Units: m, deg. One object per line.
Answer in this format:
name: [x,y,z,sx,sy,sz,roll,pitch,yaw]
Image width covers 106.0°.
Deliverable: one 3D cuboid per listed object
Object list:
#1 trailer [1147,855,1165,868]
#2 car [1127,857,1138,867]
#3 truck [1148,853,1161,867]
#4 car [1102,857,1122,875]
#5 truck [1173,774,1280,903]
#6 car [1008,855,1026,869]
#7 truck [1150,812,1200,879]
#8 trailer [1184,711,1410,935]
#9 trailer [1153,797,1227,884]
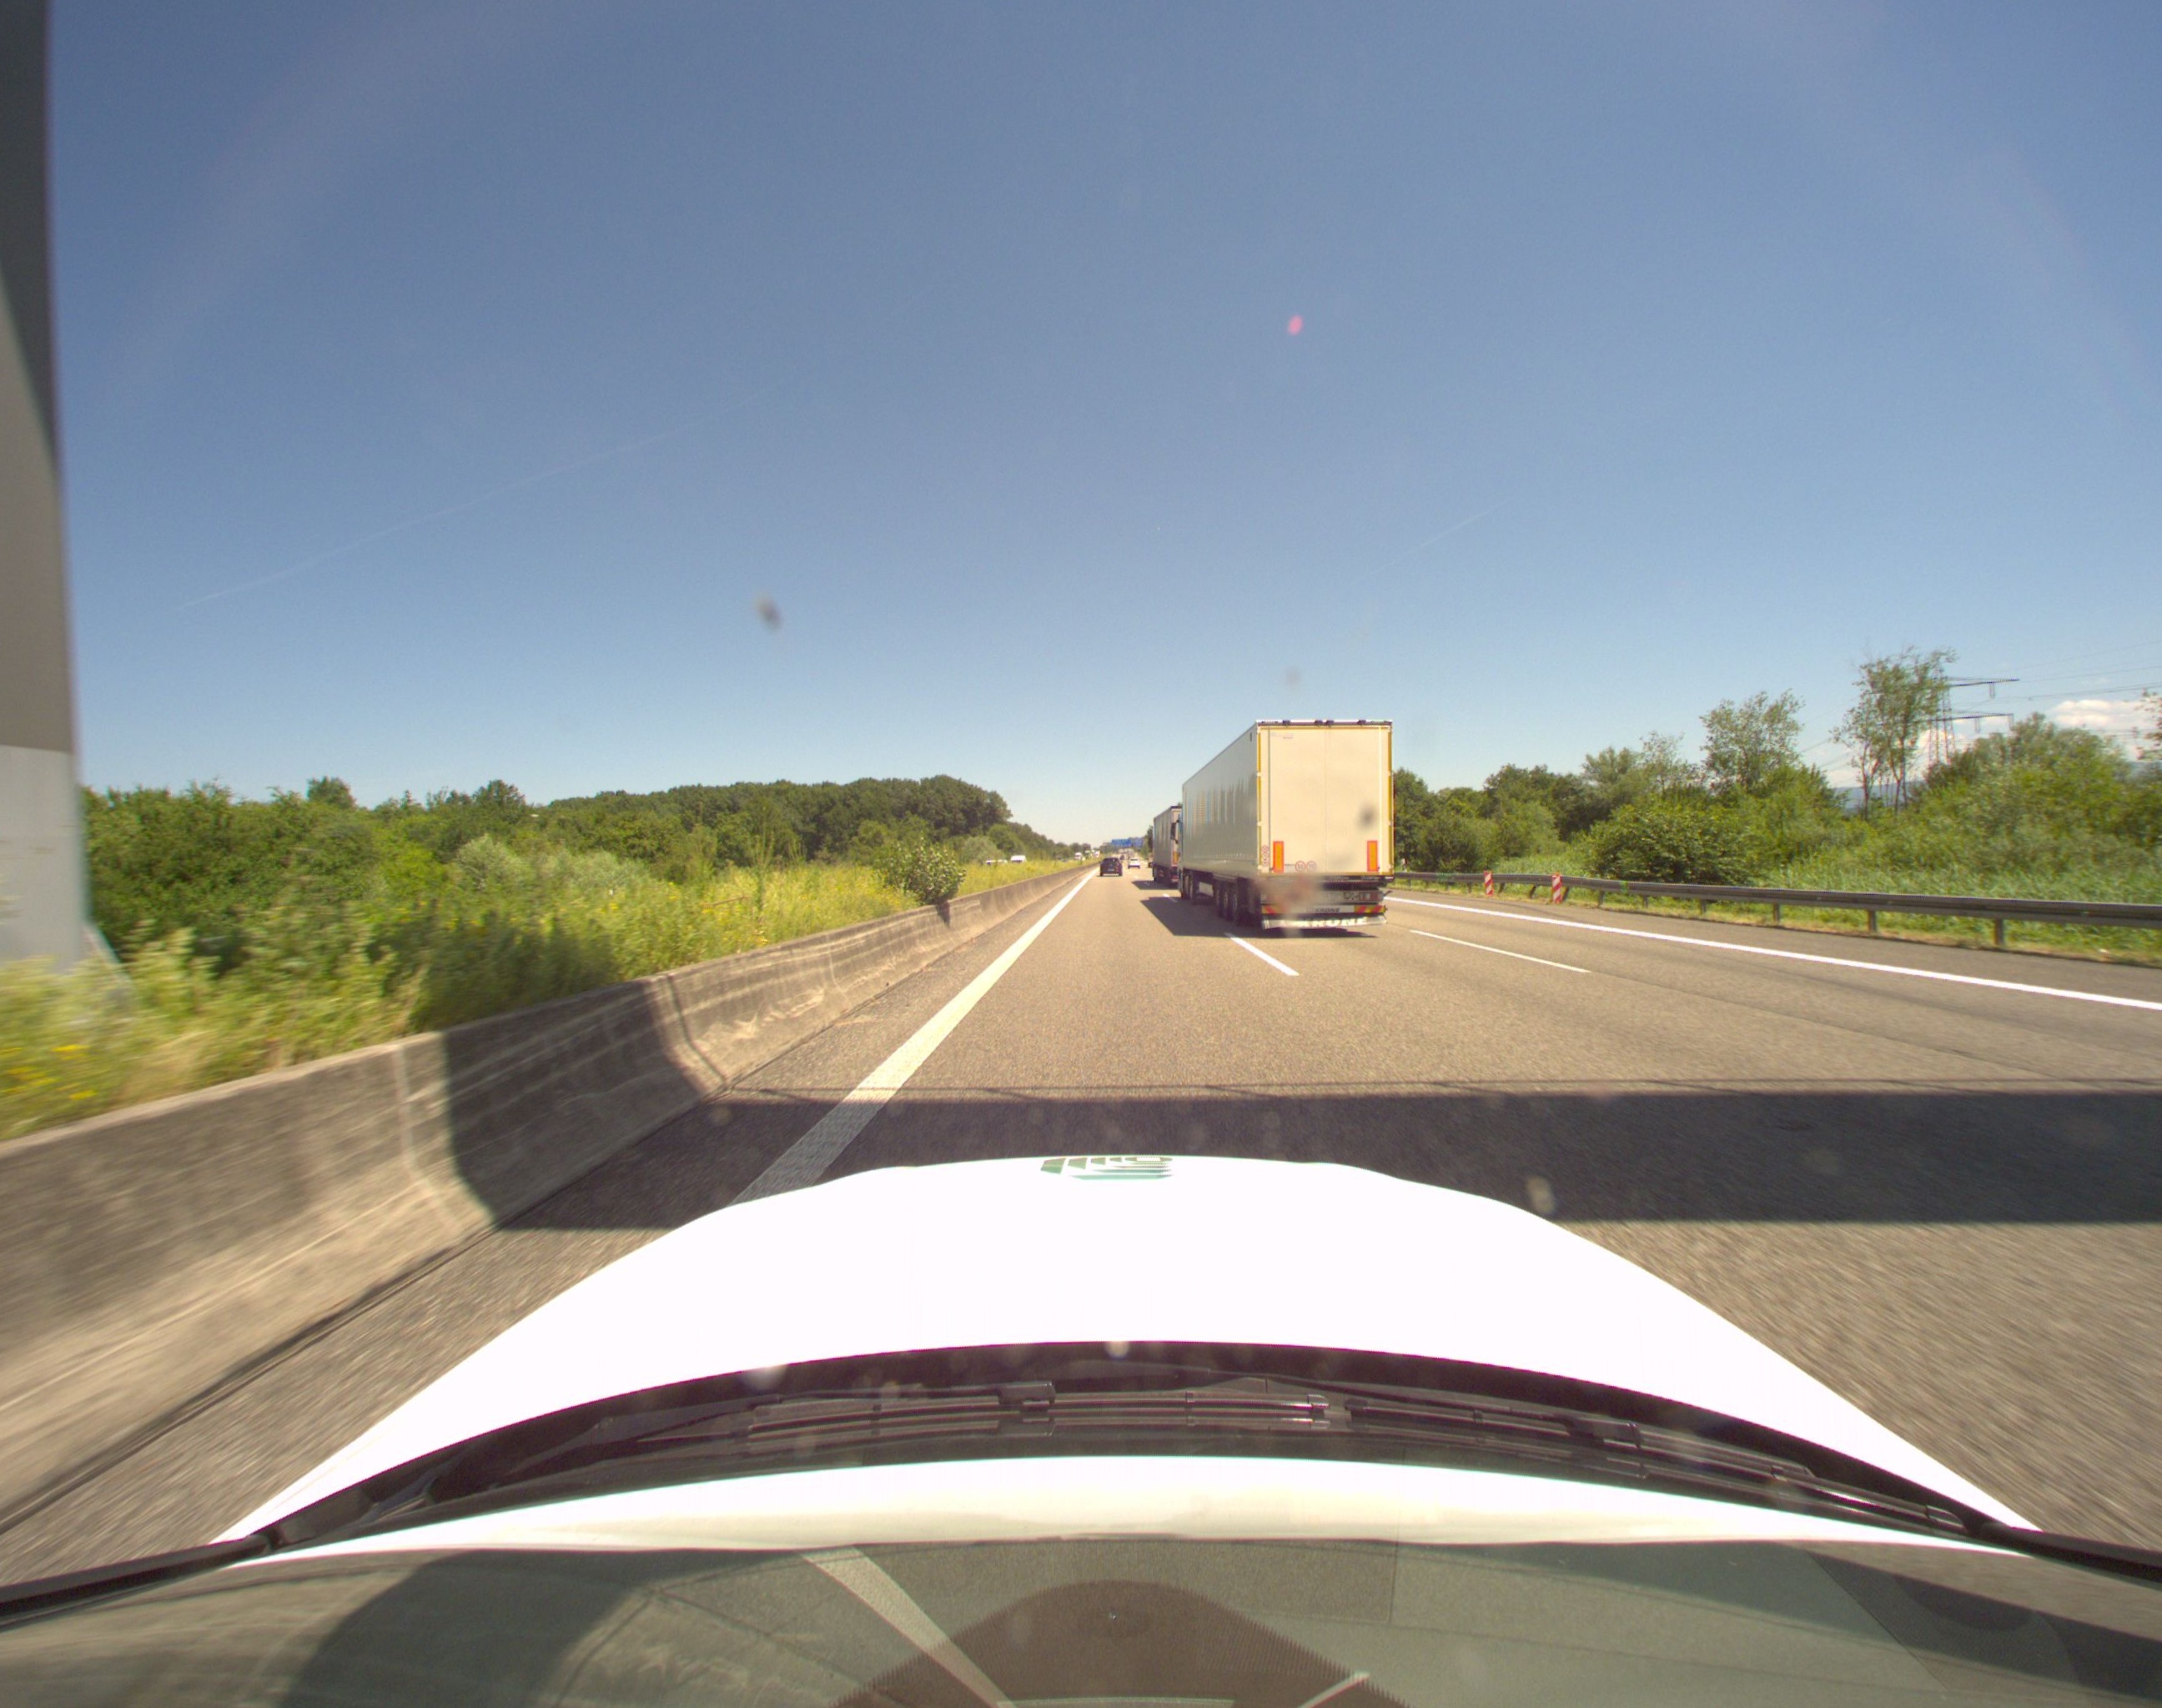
trailer: [12.320,1.184,134.016,2.412,2.013,6.035,-1,0,1]
car: [7.959,1.232,126.060,1.733,1.486,4.002,-1,0,2]
truck: [12.531,0.993,139.400,1.986,2.373,4.646,-1,0,1]
car: [2.757,1.035,72.775,1.654,1.549,3.783,0,0,1]
truck: [4.933,-0.482,28.678,2.789,4.007,6.022,-1,0,1]
car: [-9.571,1.174,122.900,1.986,2.013,6.559,1,0,2]
truck: [6.054,-0.462,53.261,2.690,4.094,6.456,-1,-1,2]
trailer: [4.734,-0.538,21.121,2.784,4.035,12.571,-1,0,1]
trailer: [5.762,-0.549,45.774,2.697,4.068,14.752,-1,-1,2]
